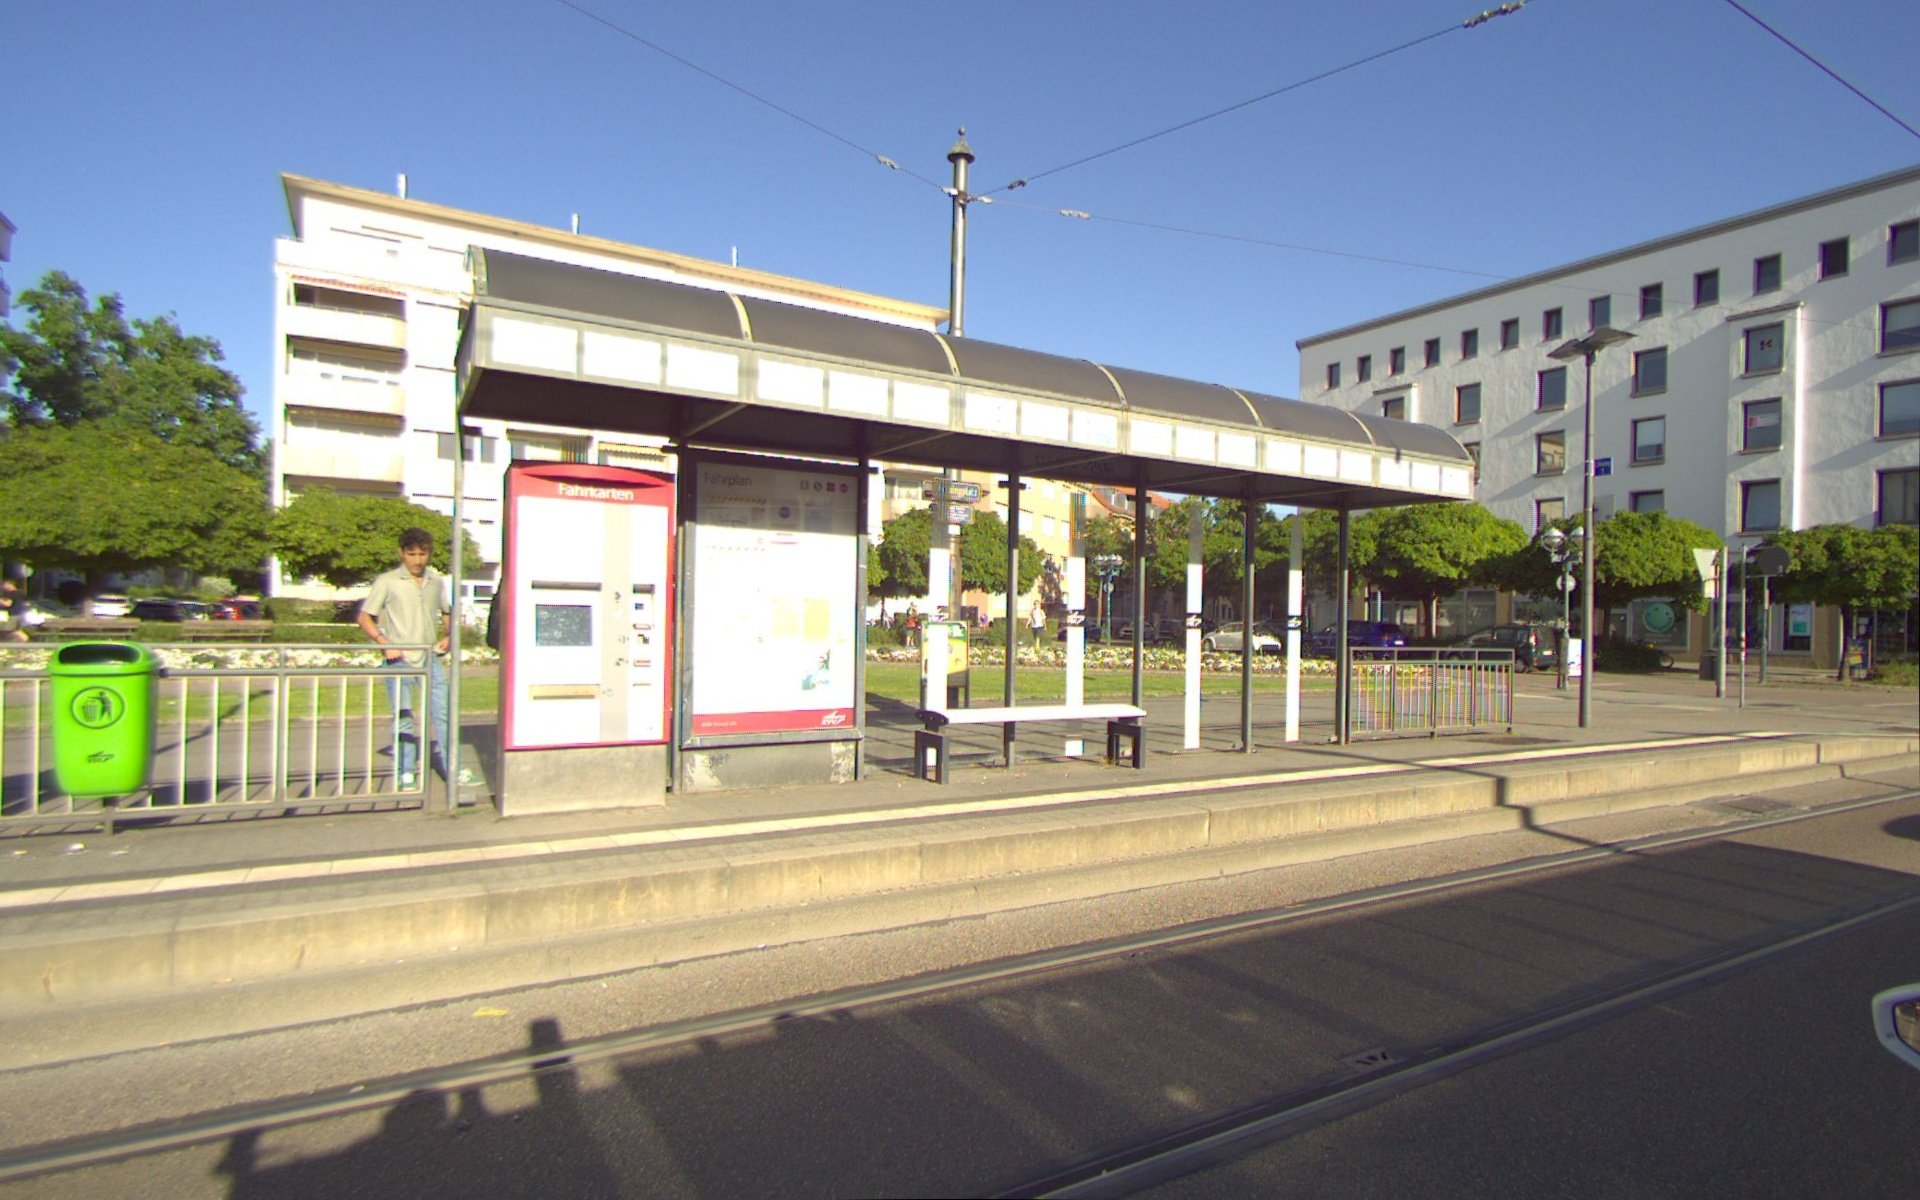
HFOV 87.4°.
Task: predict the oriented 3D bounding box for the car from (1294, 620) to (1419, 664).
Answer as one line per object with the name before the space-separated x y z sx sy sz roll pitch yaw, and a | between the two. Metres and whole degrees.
car | 16.511 1.717 42.054 1.978 1.684 4.581 2 -1 -32

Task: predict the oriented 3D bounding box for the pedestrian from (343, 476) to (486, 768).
pedestrian | -3.582 0.153 6.645 0.760 1.797 0.613 1 -3 -28

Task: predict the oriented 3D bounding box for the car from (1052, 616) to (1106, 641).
car | 7.915 1.863 66.290 1.887 1.514 4.343 2 0 31

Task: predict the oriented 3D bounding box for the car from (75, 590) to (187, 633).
car | -29.985 0.430 36.423 2.899 1.506 1.407 2 -1 -31

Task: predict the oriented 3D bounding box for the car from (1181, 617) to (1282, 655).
car | 12.669 1.665 47.095 1.835 1.628 4.581 2 -1 -31

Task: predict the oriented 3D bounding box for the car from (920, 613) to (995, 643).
car | -0.115 1.377 49.057 3.271 1.372 1.638 2 -1 -29

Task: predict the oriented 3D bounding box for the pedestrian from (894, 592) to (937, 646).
pedestrian | -1.739 0.748 38.860 1.219 2.040 1.214 2 -1 -30

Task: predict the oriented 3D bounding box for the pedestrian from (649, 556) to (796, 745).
pedestrian | -2.296 0.472 9.751 0.980 1.702 0.971 0 -2 36

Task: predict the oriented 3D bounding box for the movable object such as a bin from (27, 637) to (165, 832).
movable object such as a bin | -4.090 0.618 4.777 0.411 0.871 0.335 1 -1 -27

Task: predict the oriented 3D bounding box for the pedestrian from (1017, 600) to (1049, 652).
pedestrian | 2.658 0.949 36.593 0.856 1.841 0.944 1 -1 -19

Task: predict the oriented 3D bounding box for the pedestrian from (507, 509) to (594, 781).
pedestrian | -2.967 0.323 7.276 0.519 1.883 0.426 1 -3 -27

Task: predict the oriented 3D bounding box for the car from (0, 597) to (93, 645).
car | -26.993 0.573 28.193 3.672 1.318 1.984 2 -1 -30

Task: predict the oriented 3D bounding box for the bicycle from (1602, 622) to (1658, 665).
bicycle | 26.533 1.720 39.736 2.585 1.628 0.616 2 -1 -26

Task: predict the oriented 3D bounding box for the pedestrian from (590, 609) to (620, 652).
pedestrian | -11.604 0.998 32.806 0.673 1.378 1.042 2 -1 -34

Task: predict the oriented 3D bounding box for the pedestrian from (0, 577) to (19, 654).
pedestrian | -23.236 0.353 23.622 1.153 1.811 1.082 1 0 4

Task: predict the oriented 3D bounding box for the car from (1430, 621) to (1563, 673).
car | 19.717 1.684 37.068 1.804 1.728 3.968 2 -1 -30
